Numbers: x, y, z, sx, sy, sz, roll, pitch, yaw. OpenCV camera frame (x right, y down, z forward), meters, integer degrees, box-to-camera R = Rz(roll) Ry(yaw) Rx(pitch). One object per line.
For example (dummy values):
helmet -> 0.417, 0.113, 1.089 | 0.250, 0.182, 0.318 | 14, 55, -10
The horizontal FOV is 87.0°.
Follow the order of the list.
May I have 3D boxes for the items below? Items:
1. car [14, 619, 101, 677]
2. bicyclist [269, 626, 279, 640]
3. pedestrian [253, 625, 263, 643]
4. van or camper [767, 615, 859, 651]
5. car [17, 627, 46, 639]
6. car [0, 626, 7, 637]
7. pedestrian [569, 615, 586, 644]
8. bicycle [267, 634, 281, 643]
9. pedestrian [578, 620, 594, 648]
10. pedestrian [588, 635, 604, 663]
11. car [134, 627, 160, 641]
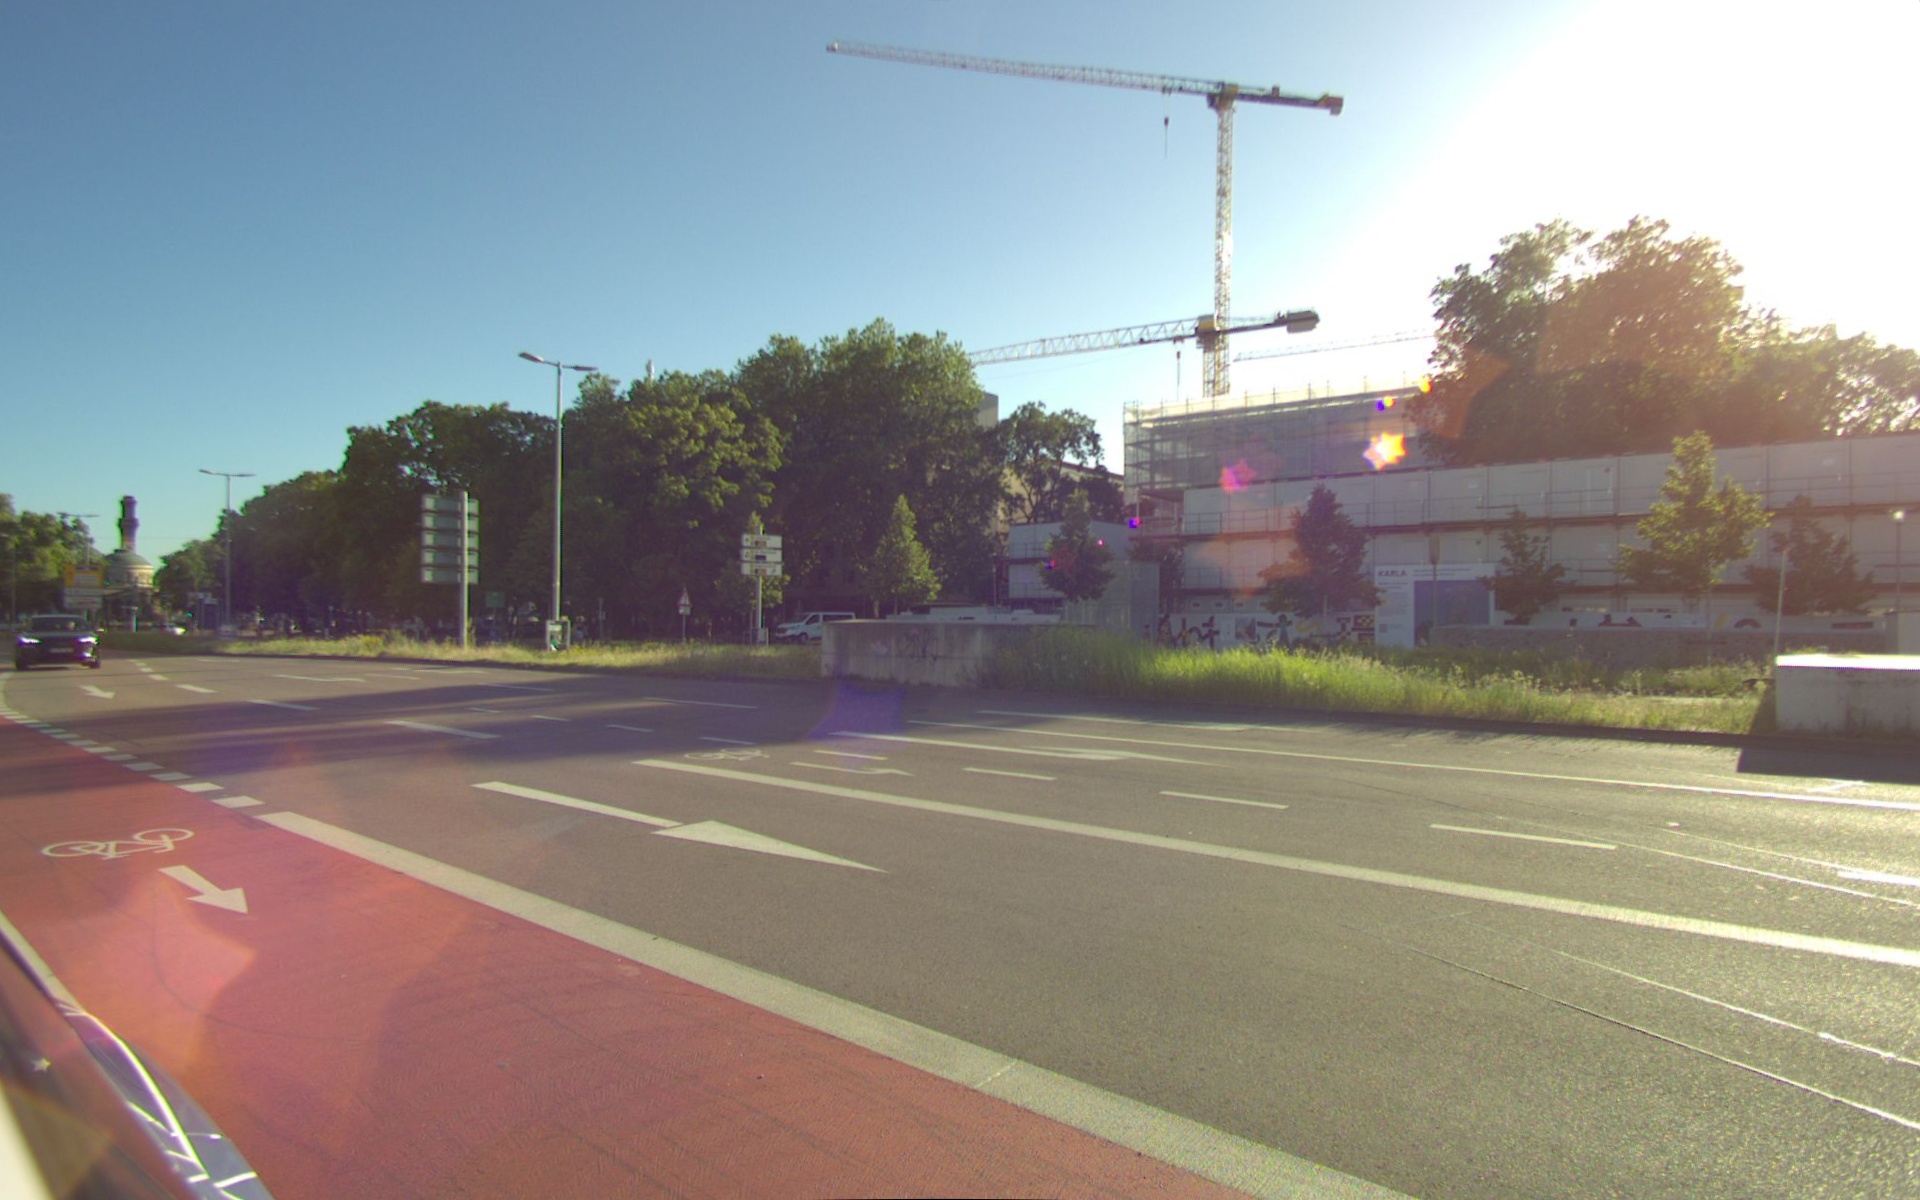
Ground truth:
car -> -28.095, 1.425, 31.529 | 1.909, 1.656, 4.622 | 1, -1, -42
bicyclist -> -65.359, 3.144, 96.431 | 0.714, 1.291, 0.603 | -1, -2, 40
pedestrian -> -70.356, 3.411, 101.435 | 0.619, 1.862, 0.926 | 2, -2, -44
van or camper -> -8.935, 1.960, 61.951 | 1.948, 2.029, 5.576 | -1, 0, 42
car -> -104.682, 3.711, 114.071 | 3.996, 1.409, 1.849 | -1, -2, 39
car -> -124.786, 4.007, 130.699 | 3.995, 1.409, 1.849 | -1, -2, 39
pedestrian -> -23.471, 1.797, 62.046 | 0.762, 1.738, 0.698 | -1, -2, 41
bicycle -> -65.360, 3.641, 96.418 | 1.744, 0.849, 0.602 | -1, -2, 40
pedestrian -> -23.158, 2.084, 62.657 | 0.762, 1.738, 0.656 | -1, -2, 41
pedestrian -> -22.679, 3.027, 63.062 | 0.762, 1.738, 0.698 | -1, -2, 42
car -> -86.986, 3.646, 108.340 | 1.967, 1.519, 4.009 | 1, -2, -36
